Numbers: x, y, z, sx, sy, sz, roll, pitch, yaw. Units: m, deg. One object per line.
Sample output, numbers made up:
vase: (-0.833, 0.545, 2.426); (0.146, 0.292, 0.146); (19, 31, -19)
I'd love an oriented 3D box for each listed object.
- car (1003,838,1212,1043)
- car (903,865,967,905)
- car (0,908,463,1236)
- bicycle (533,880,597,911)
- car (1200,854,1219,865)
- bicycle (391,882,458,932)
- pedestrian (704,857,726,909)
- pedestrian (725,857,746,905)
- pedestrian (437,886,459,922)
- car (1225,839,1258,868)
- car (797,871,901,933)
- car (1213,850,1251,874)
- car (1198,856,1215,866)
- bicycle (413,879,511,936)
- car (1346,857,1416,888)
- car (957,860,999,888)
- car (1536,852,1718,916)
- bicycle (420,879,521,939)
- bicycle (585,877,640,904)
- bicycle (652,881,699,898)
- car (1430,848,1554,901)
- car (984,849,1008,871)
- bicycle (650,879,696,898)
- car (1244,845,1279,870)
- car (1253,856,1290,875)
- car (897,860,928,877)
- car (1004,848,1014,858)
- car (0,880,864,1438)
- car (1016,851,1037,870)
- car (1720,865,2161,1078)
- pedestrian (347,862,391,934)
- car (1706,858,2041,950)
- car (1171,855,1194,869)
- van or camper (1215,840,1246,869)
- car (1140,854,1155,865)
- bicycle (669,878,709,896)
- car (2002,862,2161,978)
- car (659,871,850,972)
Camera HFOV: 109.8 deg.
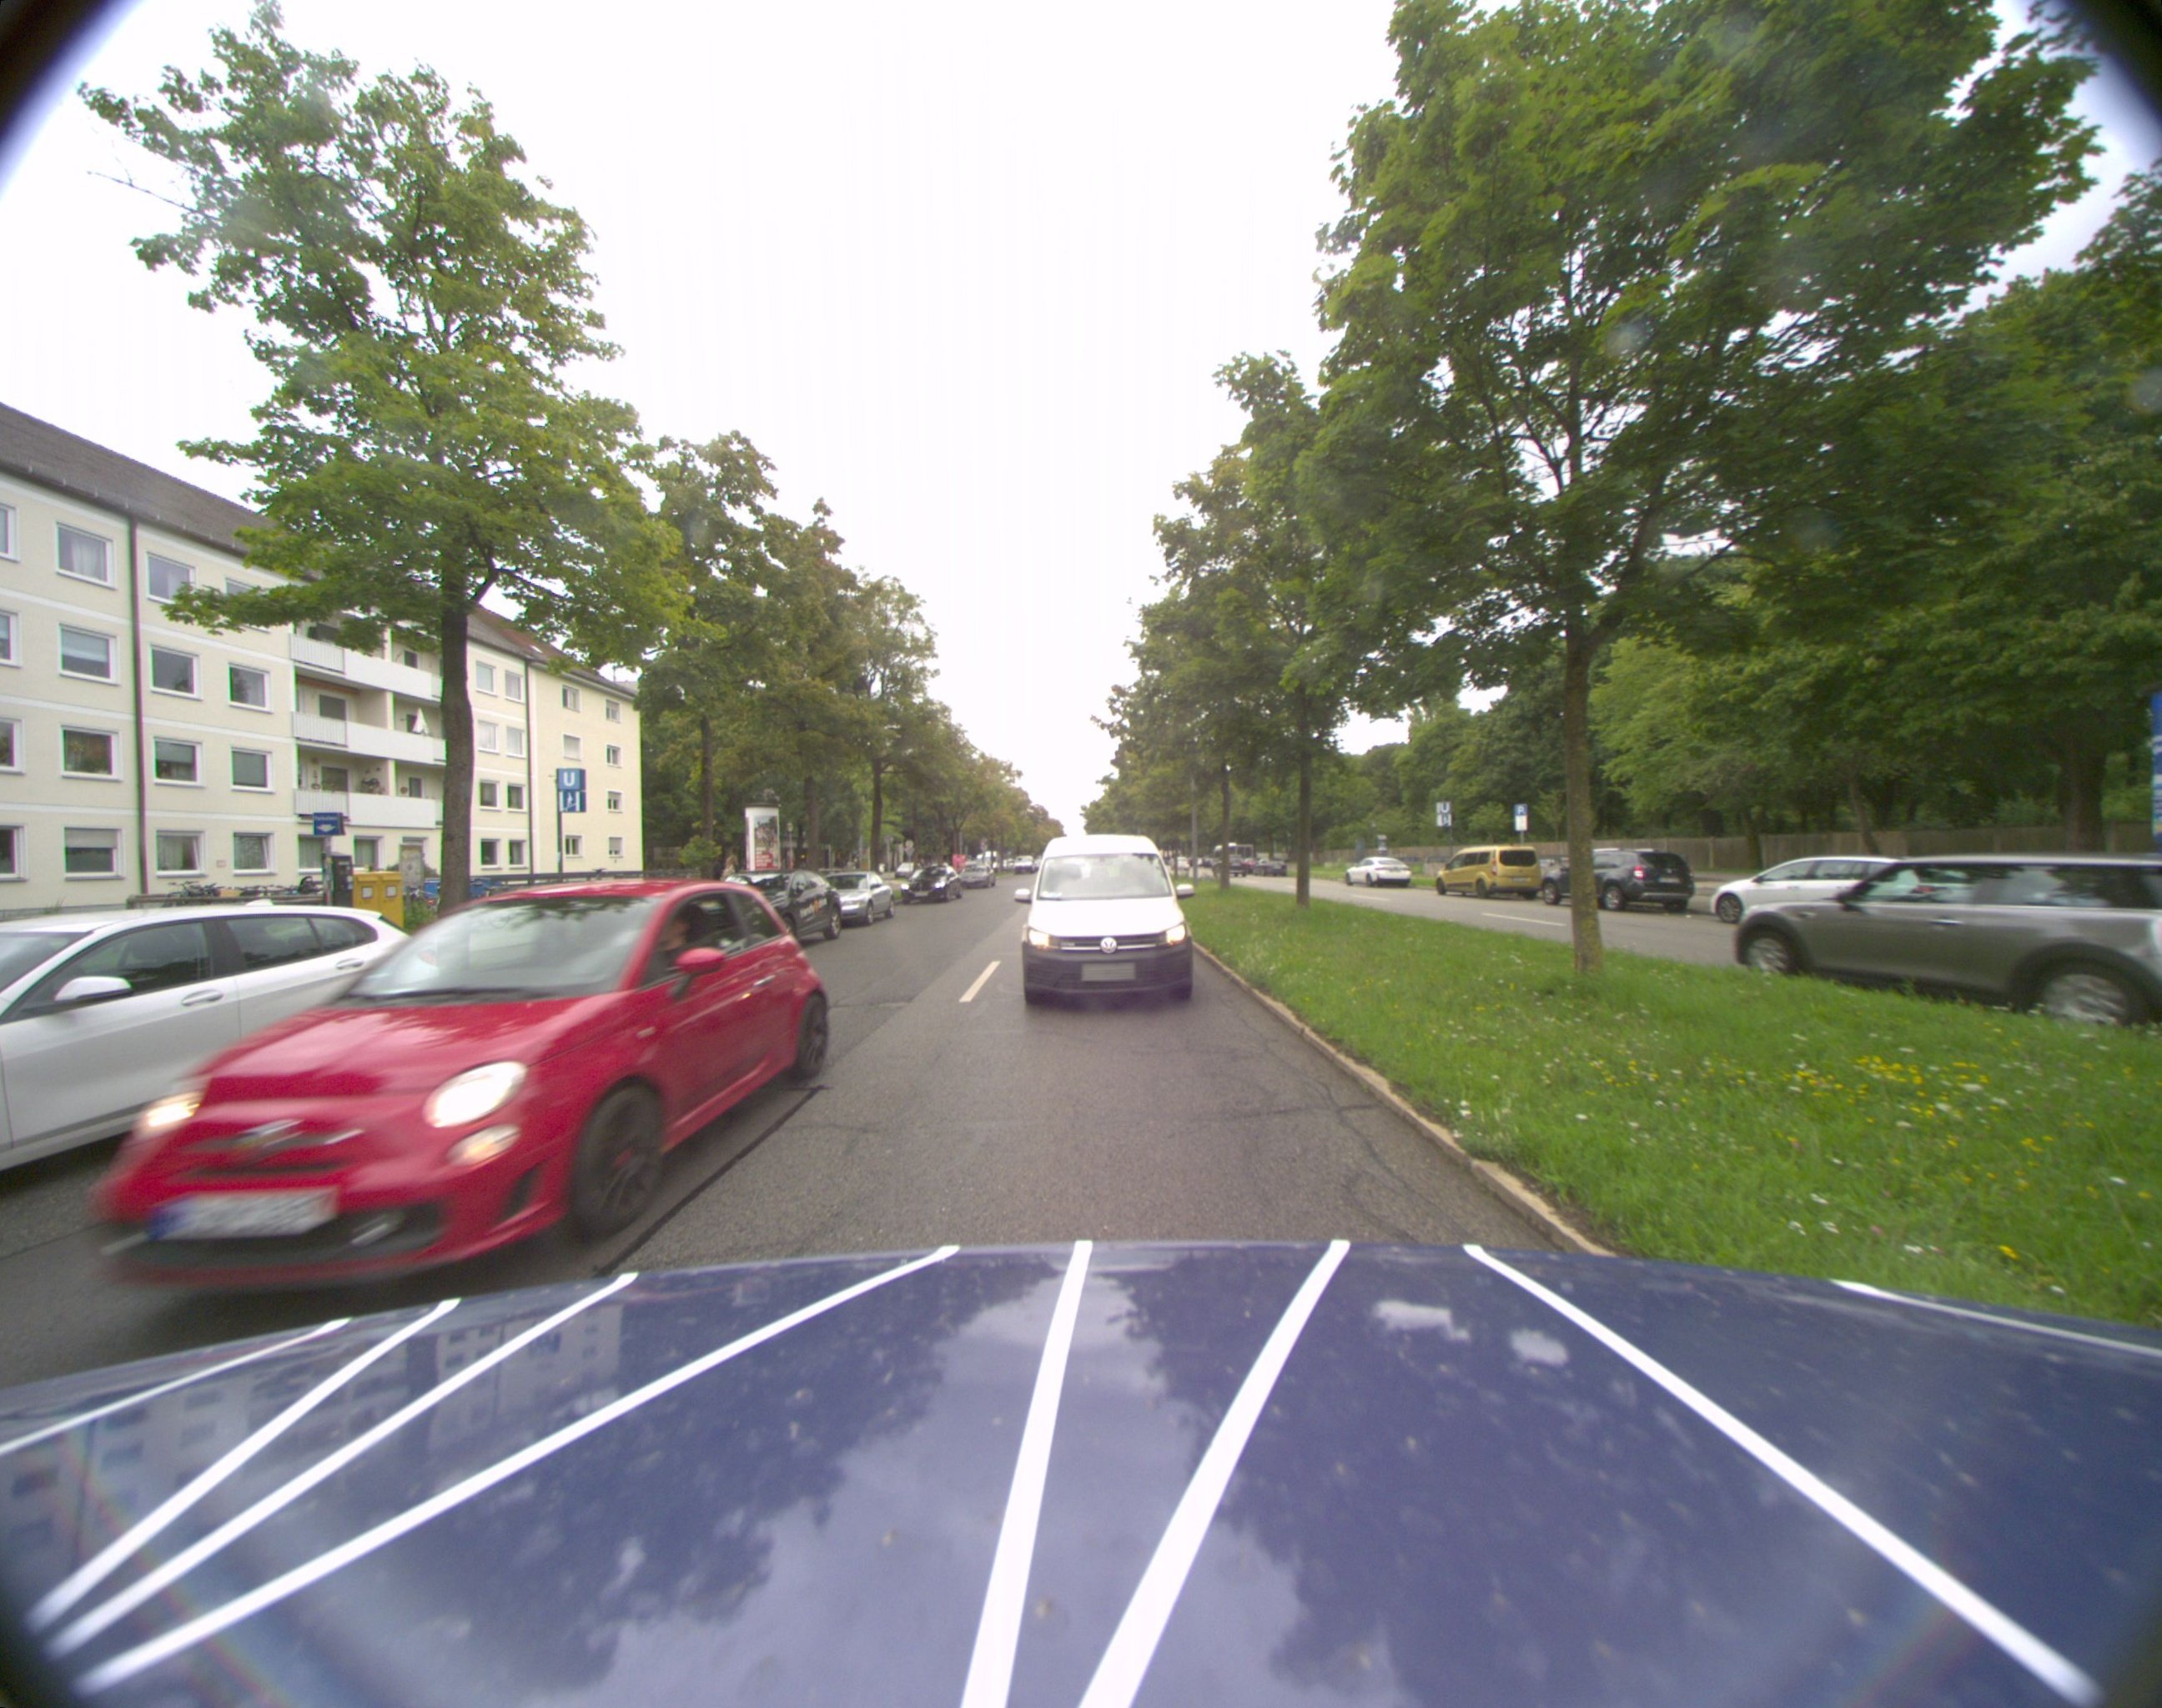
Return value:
car: (0.240, 0.770, 9.076); (1.772, 1.742, 4.545); (-3, 0, 0)
car: (-5.852, 1.198, 30.943); (1.827, 1.371, 4.300); (-2, 0, -1)
car: (-6.319, 1.239, 4.429); (1.826, 1.428, 4.287); (-3, 0, 0)
bicycle: (-16.429, 1.308, 24.210); (1.599, 0.910, 0.498); (-2, 1, -4)
car: (17.127, 0.739, 101.528); (1.717, 1.401, 4.041); (0, 0, -2)
bicycle: (-15.795, 1.261, 18.321); (0.466, 1.110, 1.253); (-2, 0, 1)
pedestrian: (-12.532, 0.977, 26.020); (0.560, 1.745, 0.656); (-2, 1, -19)
pedestrian: (-11.864, 0.920, 26.091); (0.560, 1.595, 0.519); (-2, 1, -19)
pedestrian: (-16.667, 1.321, 20.019); (0.338, 0.915, 0.395); (-2, 1, -28)
car: (14.975, -0.060, 71.092); (1.999, 2.576, 4.499); (0, 0, -2)
car: (-6.105, 1.211, 20.422); (1.617, 1.371, 3.926); (-2, 0, -1)
car: (11.175, 0.552, 56.577); (1.866, 1.659, 4.500); (1, 0, 0)
car: (18.245, 1.037, 110.767); (1.717, 1.401, 4.041); (0, 0, -2)
bicycle: (-14.575, 1.220, 17.971); (0.545, 1.182, 2.076); (-2, 0, 1)
car: (14.765, 0.869, 37.615); (1.717, 1.434, 4.041); (0, 0, -2)
car: (-5.996, 1.167, 44.782); (1.827, 1.460, 4.300); (-2, 0, 1)
car: (14.789, 0.743, 20.909); (2.007, 1.607, 4.041); (0, 0, -2)
bicycle: (-13.673, 1.193, 17.109); (0.545, 1.182, 2.076); (-2, 0, 1)
bicycle: (-16.484, 1.286, 26.750); (1.599, 0.910, 0.498); (0, 1, -4)
bicycle: (-16.218, 1.411, 30.401); (1.599, 0.634, 0.498); (1, 0, -4)
car: (14.493, 0.665, 27.142); (1.862, 1.761, 4.533); (0, 0, -2)
car: (-9.646, 0.654, 86.918); (1.998, 2.440, 5.000); (-2, 1, 1)
bicycle: (-16.740, 1.406, 31.197); (1.599, 0.691, 0.498); (-2, 1, -4)
car: (15.086, 0.252, 63.676); (1.999, 2.002, 4.000); (-2, 0, 0)
car: (14.677, 0.853, 58.701); (1.717, 1.401, 4.041); (0, 0, -2)
car: (-15.834, 1.347, 71.490); (1.827, 1.460, 4.300); (-2, 0, 1)
car: (-17.155, -0.277, 181.275); (1.999, 2.440, 4.999); (-2, 0, -1)
car: (-2.780, 1.008, 4.455); (1.723, 1.492, 4.300); (-2, 0, 0)
car: (-5.865, 0.724, 82.558); (1.827, 1.939, 4.300); (-2, 0, 1)
car: (8.089, 0.824, 6.707); (1.722, 1.374, 3.767); (1, 0, 0)
pedestrian: (-17.060, 1.039, 18.213); (0.560, 1.664, 0.519); (-2, 1, -19)
car: (14.695, 0.822, 14.532); (1.826, 1.461, 4.300); (0, 0, -2)
car: (11.291, 0.838, 84.676); (1.866, 1.447, 4.500); (1, 0, 0)
van or camper: (14.924, 0.075, 76.211); (1.999, 2.791, 4.931); (0, 0, -2)
car: (9.835, 0.799, 112.360); (1.866, 1.649, 4.500); (1, 0, 0)
bicycle: (-16.381, 1.382, 31.777); (1.392, 0.709, 0.498); (1, 0, -4)
car: (14.549, 0.857, 9.319); (1.826, 1.438, 3.787); (1, 0, -2)
car: (-6.013, 1.162, 14.606); (1.826, 1.502, 4.157); (-2, 0, 0)
